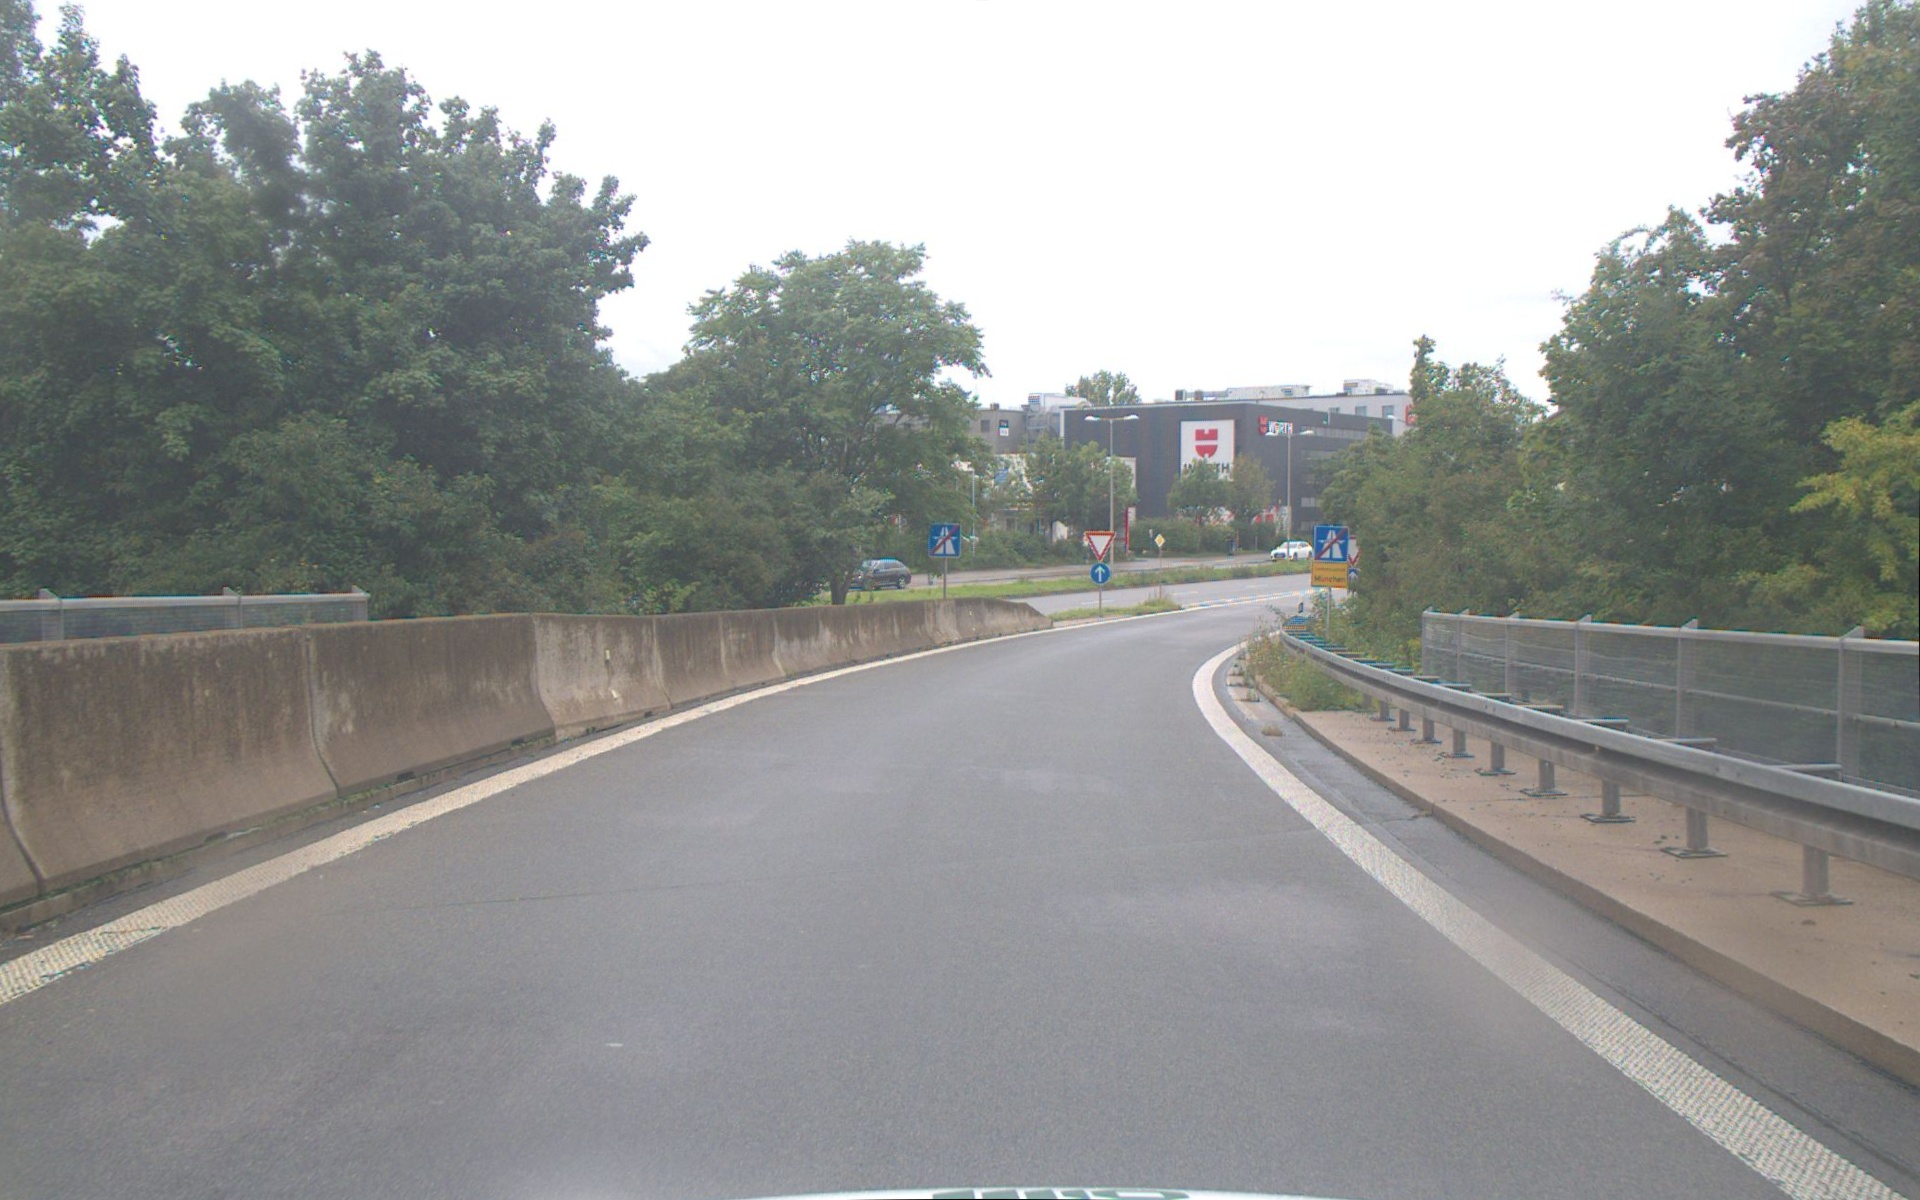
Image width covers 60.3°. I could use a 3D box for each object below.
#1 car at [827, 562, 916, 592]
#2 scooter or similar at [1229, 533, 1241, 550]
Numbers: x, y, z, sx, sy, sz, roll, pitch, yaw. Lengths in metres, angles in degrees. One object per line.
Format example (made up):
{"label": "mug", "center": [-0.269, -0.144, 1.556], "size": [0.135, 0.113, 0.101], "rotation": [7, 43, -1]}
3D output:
{"label": "car", "center": [-4.431, -1.170, 83.794], "size": [1.935, 1.421, 4.800], "rotation": [0, 2, 35]}
{"label": "scooter or similar", "center": [22.167, -4.711, 133.126], "size": [0.437, 1.248, 1.384], "rotation": [2, 4, 33]}
